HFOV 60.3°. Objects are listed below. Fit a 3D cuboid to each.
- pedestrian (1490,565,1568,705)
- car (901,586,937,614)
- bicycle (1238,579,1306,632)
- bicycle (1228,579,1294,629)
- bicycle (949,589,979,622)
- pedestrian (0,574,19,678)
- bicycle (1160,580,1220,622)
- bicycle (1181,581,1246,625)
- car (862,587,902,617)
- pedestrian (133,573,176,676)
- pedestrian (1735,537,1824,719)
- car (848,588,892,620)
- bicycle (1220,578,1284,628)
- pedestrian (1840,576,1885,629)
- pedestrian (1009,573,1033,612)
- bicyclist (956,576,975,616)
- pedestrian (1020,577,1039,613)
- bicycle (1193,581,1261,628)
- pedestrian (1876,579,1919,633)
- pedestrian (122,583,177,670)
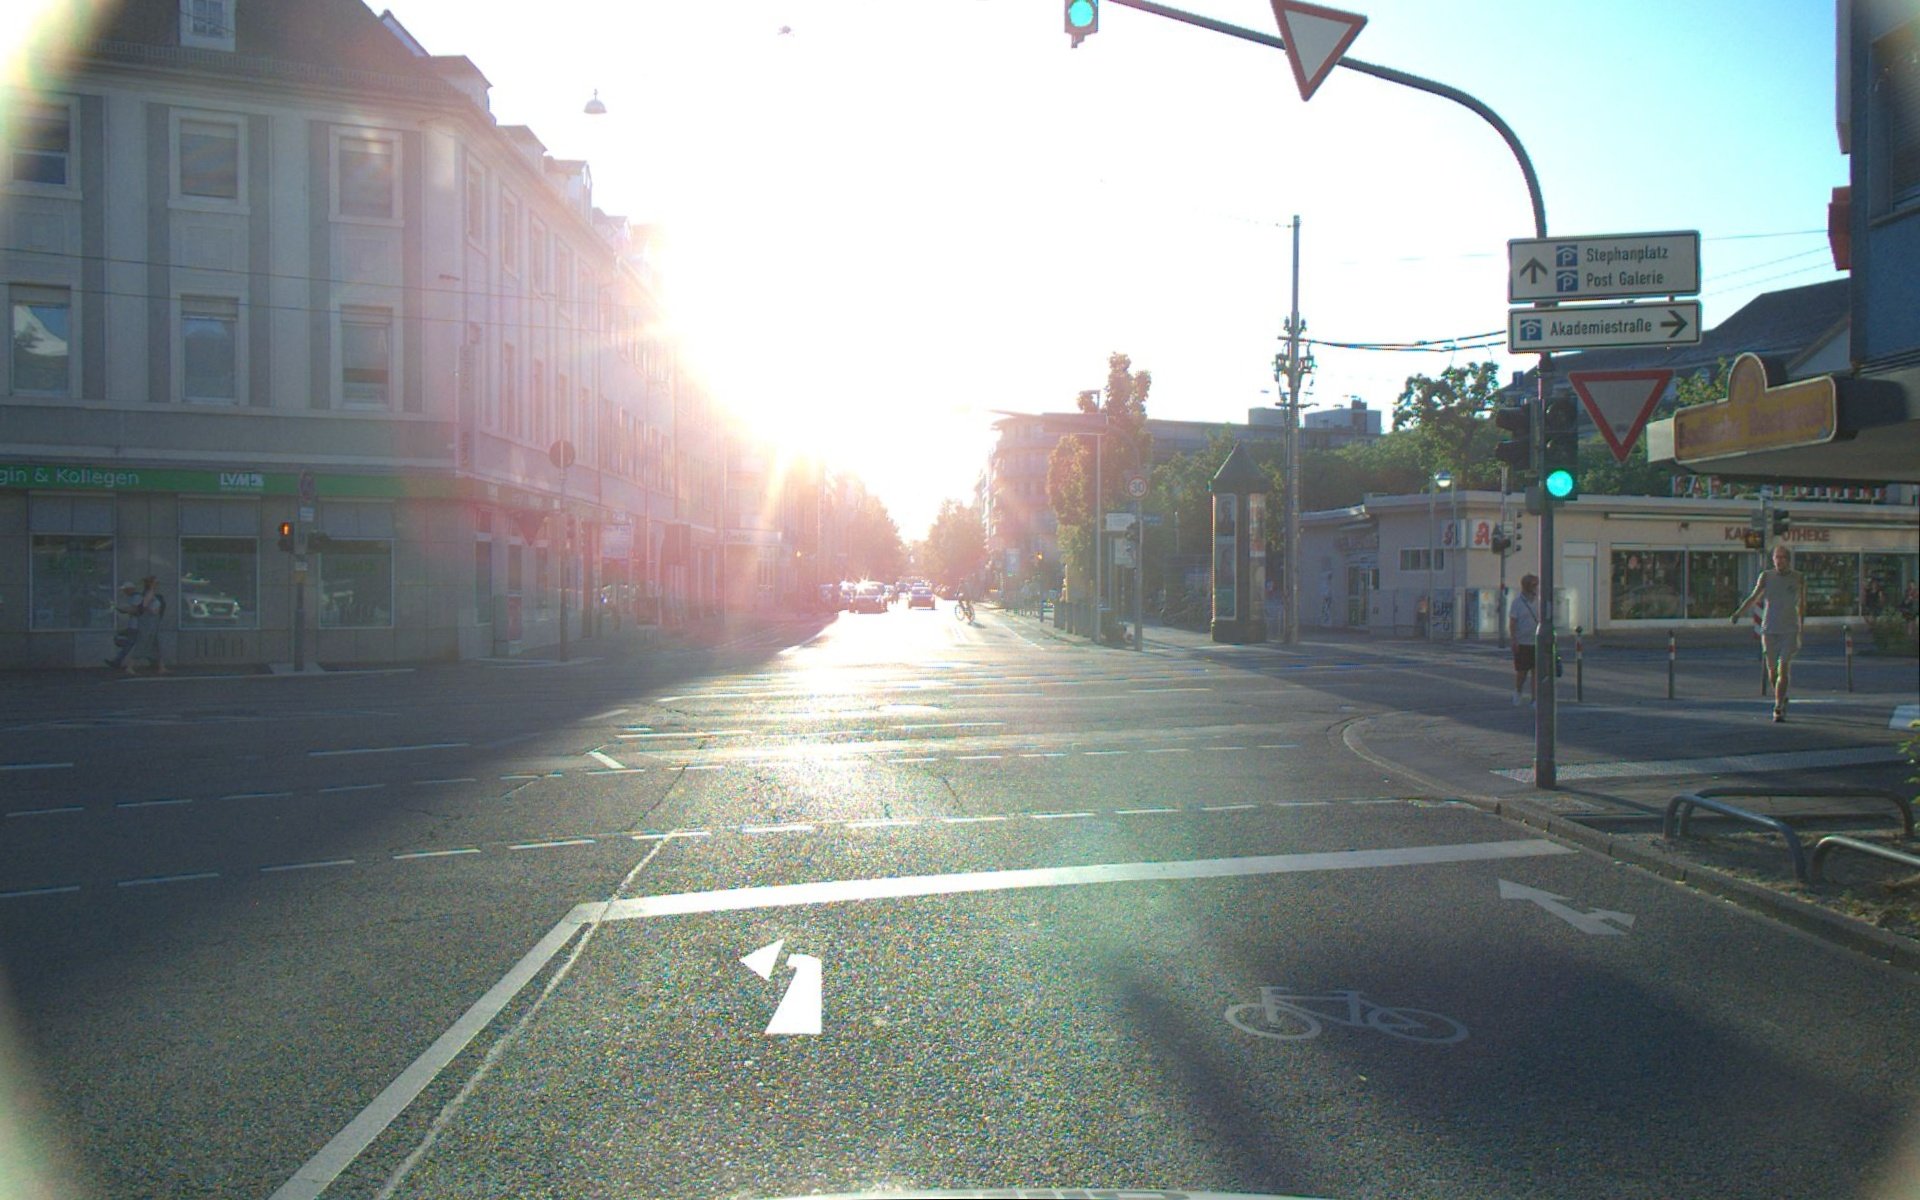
[{"bbox_3d":[7.374,0.444,21.411,0.788,1.756,0.993,-2,-1,26],"label":"pedestrian"},{"bbox_3d":[-2.657,-0.025,108.557,2.257,1.707,5.531,-1,0,-1],"label":"car"},{"bbox_3d":[9.273,0.173,49.181,1.945,1.549,0.479,-1,0,-1],"label":"bicycle"},{"bbox_3d":[9.393,0.122,51.598,1.945,1.549,0.479,-1,0,0],"label":"bicycle"},{"bbox_3d":[0.176,0.215,72.511,0.668,1.426,2.218,-1,0,-18],"label":"bicycle"},{"bbox_3d":[-16.666,0.452,28.519,0.688,1.776,0.635,-1,0,-23],"label":"pedestrian"},{"bbox_3d":[8.579,0.025,61.823,2.176,1.549,0.681,-1,0,3],"label":"bicycle"},{"bbox_3d":[8.979,0.095,58.688,2.177,1.549,0.681,-1,0,0],"label":"bicycle"},{"bbox_3d":[-4.649,0.083,99.278,2.257,1.707,5.531,-1,0,-1],"label":"car"},{"bbox_3d":[-14.421,0.436,29.611,0.637,1.809,0.667,-1,0,-23],"label":"pedestrian"},{"bbox_3d":[8.953,0.305,18.083,0.788,1.919,0.993,-2,-1,26],"label":"pedestrian"},{"bbox_3d":[-4.952,0.193,91.678,2.257,1.707,5.531,-1,0,-1],"label":"car"},{"bbox_3d":[9.284,0.100,52.632,1.945,1.549,0.479,-1,0,0],"label":"bicycle"},{"bbox_3d":[28.747,0.085,52.693,0.978,1.640,0.800,-2,-1,-26],"label":"pedestrian"},{"bbox_3d":[3.225,-0.397,87.180,0.971,1.991,0.806,-1,0,25],"label":"pedestrian"},{"bbox_3d":[0.237,-0.181,72.344,0.668,1.737,0.666,-1,0,-19],"label":"bicyclist"},{"bbox_3d":[3.595,-0.243,85.377,0.787,1.817,0.995,-2,-1,13],"label":"pedestrian"},{"bbox_3d":[9.086,0.142,56.311,2.177,1.549,0.681,-1,0,0],"label":"bicycle"},{"bbox_3d":[29.372,0.189,51.739,0.978,1.640,0.800,-2,-1,-26],"label":"pedestrian"},{"bbox_3d":[-15.010,0.480,30.655,0.856,1.575,0.694,-1,0,-23],"label":"pedestrian"}]
